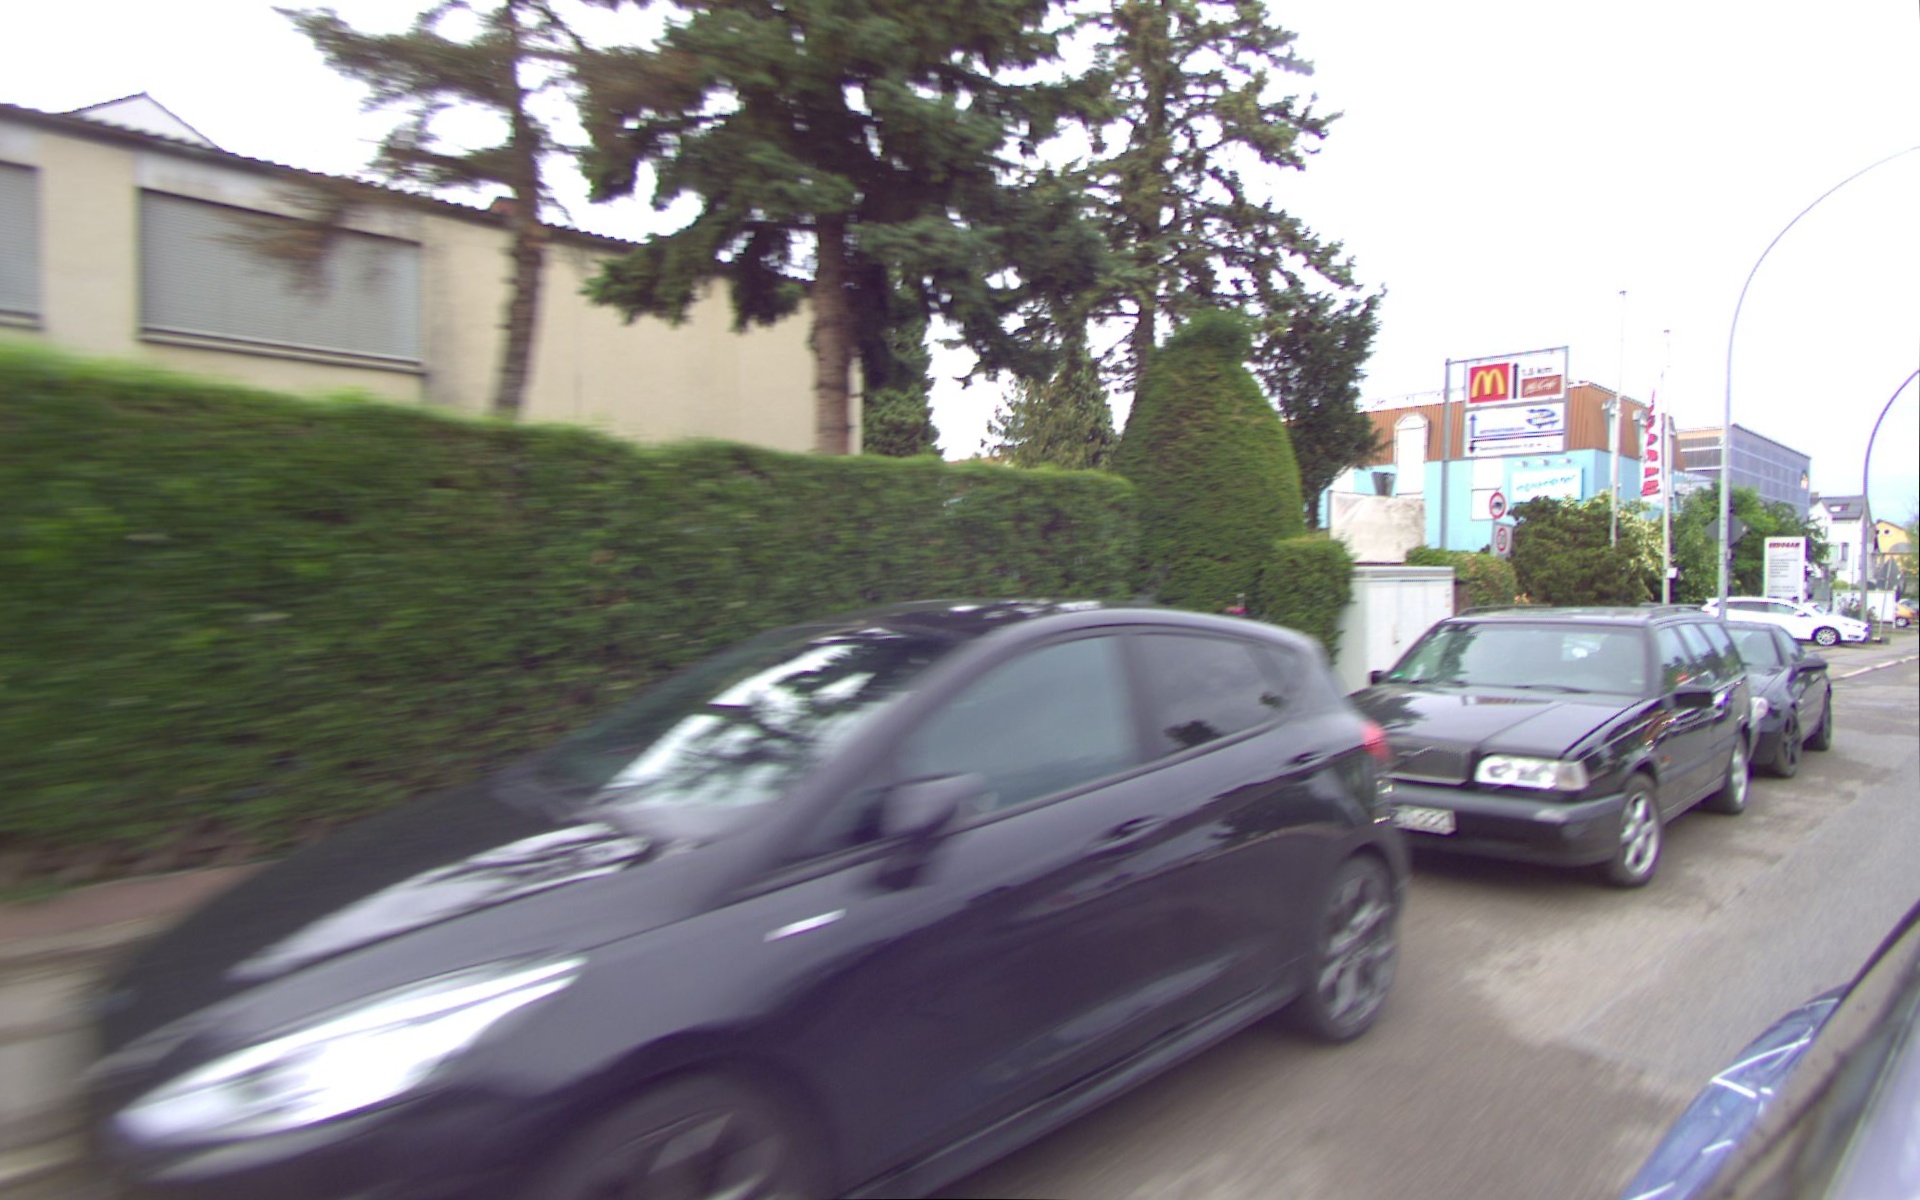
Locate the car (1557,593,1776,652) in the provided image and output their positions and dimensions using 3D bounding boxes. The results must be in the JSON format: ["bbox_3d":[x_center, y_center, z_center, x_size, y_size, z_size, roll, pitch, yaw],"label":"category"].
[{"bbox_3d":[17.035,0.506,24.549,1.916,1.282,3.996,-1,0,-38],"label":"car"}]

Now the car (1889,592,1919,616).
[{"bbox_3d":[70.636,0.279,73.693,1.946,1.696,4.233,-1,0,-41],"label":"car"}]

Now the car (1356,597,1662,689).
[{"bbox_3d":[8.818,0.617,16.492,1.917,1.282,3.992,-1,0,-42],"label":"car"}]

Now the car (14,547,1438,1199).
[{"bbox_3d":[-0.222,0.676,3.039,3.763,1.467,1.659,0,-1,-42],"label":"car"}]

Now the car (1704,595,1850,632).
[{"bbox_3d":[33.515,0.537,41.610,1.848,1.410,4.420,0,0,-42],"label":"car"}]

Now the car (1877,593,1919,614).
[{"bbox_3d":[68.704,0.265,72.716,1.800,1.509,3.975,0,0,-39],"label":"car"}]

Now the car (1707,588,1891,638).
[{"bbox_3d":[27.095,0.375,32.799,1.870,1.494,4.345,-1,1,-41],"label":"car"}]

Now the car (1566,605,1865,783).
[{"bbox_3d":[7.507,0.766,9.903,4.023,1.358,1.591,0,-2,-43],"label":"car"}]

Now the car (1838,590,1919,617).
[{"bbox_3d":[52.681,0.188,57.580,1.603,1.448,3.993,0,1,-41],"label":"car"}]

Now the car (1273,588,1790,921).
[{"bbox_3d":[4.036,0.669,6.697,4.697,1.437,1.658,-1,0,-43],"label":"car"}]
